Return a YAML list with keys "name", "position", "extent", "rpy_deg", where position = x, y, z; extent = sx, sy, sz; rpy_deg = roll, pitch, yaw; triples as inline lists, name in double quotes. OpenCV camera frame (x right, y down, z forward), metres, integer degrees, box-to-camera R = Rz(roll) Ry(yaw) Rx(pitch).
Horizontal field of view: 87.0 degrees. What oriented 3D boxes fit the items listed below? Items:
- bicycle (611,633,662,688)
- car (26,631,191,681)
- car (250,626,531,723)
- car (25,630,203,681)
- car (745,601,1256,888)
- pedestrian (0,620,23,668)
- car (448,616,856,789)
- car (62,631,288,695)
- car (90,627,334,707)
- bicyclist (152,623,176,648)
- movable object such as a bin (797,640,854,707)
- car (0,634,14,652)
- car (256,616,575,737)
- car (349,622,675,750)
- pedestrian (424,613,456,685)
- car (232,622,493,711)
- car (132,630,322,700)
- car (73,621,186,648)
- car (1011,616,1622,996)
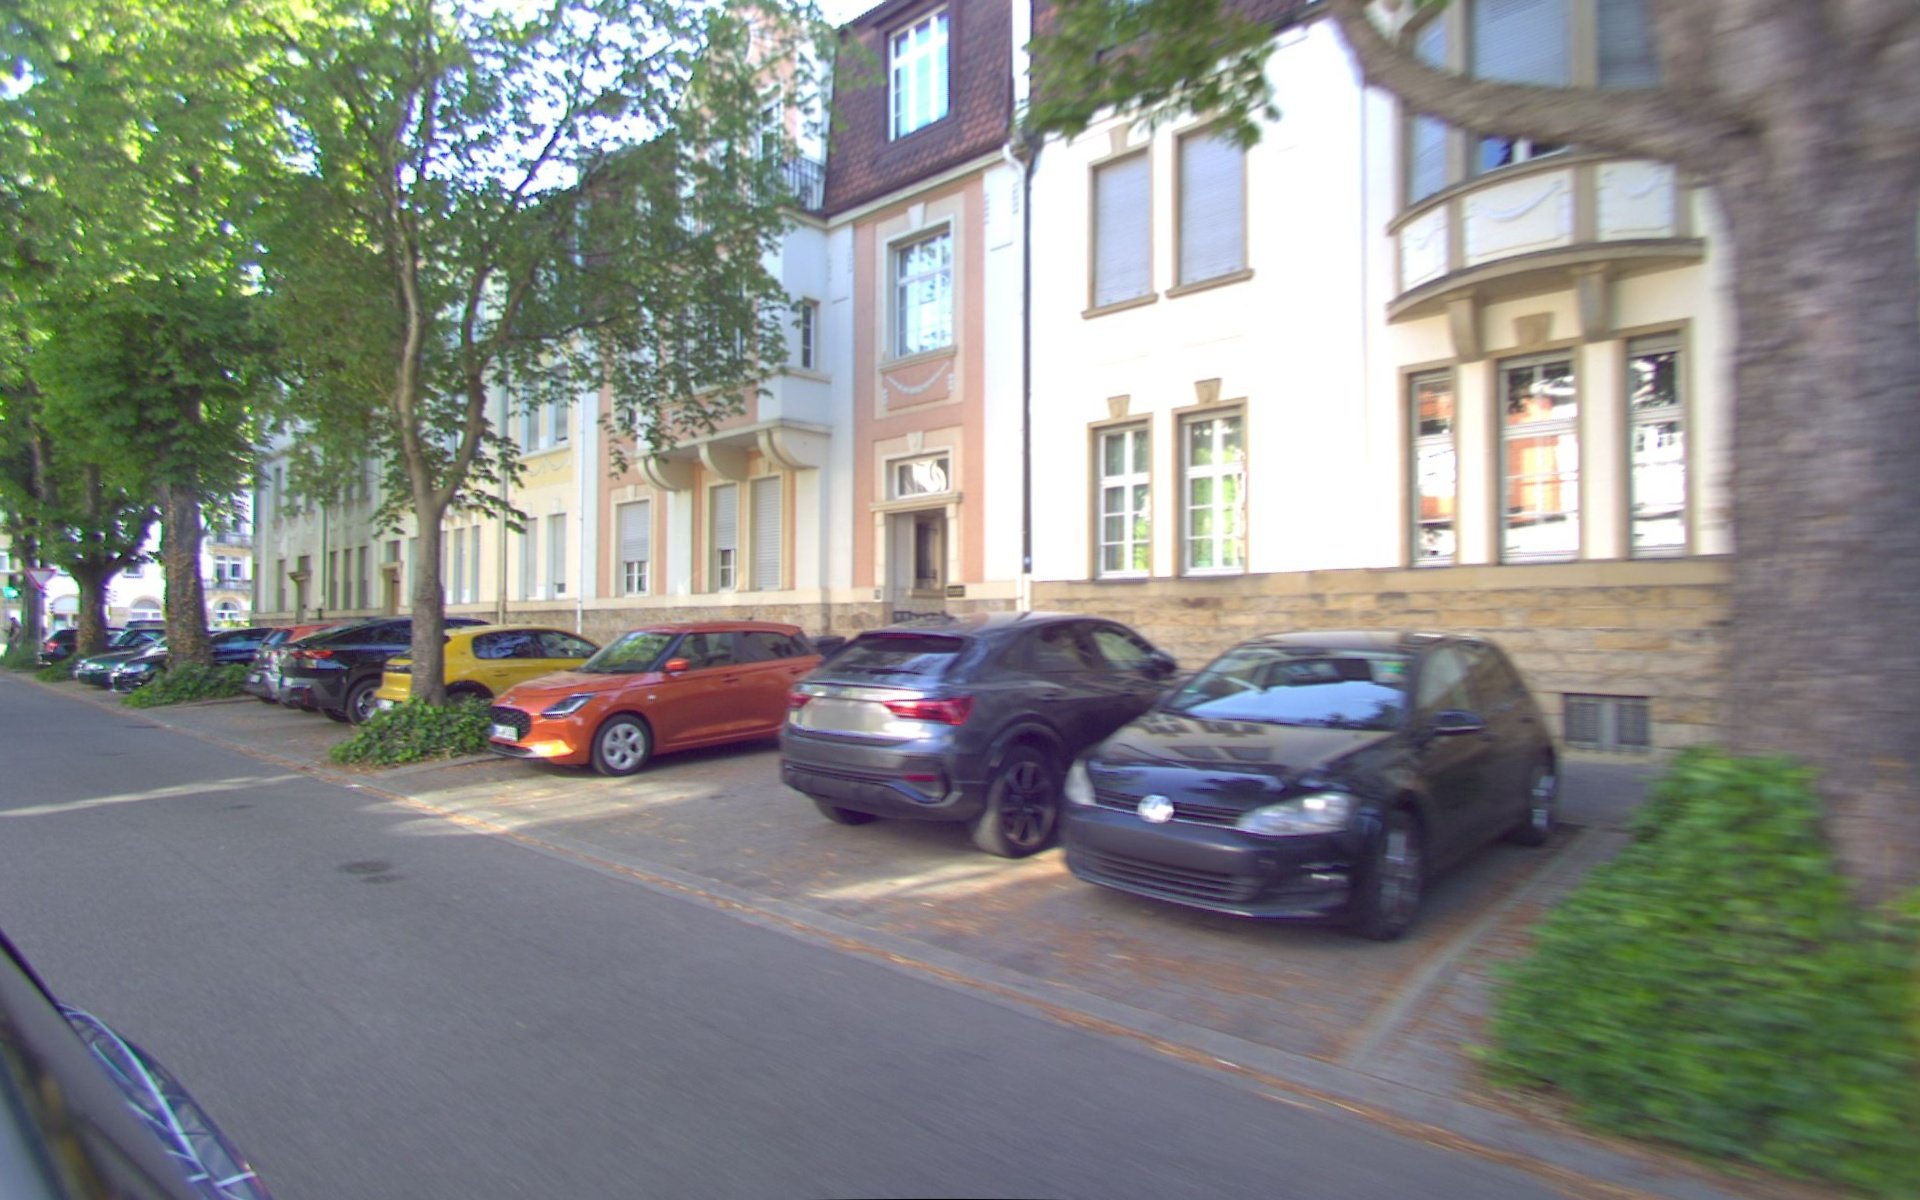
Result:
- name: "bicycle"
  position: [-6.590, 1.212, 20.590]
  extent: [1.254, 1.073, 0.428]
  rpy_deg: [-2, -2, 42]
- name: "car"
  position: [-27.289, 1.769, 32.537]
  extent: [1.615, 1.487, 3.841]
  rpy_deg: [-1, -3, 41]
- name: "car"
  position: [-9.853, 1.208, 17.710]
  extent: [1.830, 1.414, 3.943]
  rpy_deg: [-1, -1, 43]
- name: "car"
  position: [-25.429, 1.633, 30.533]
  extent: [1.612, 1.426, 3.848]
  rpy_deg: [-1, -2, 35]
- name: "car"
  position: [0.528, 0.830, 7.767]
  extent: [1.858, 1.604, 3.945]
  rpy_deg: [-2, -1, 41]
- name: "pedestrian"
  position: [-34.318, 1.577, 36.490]
  extent: [0.684, 1.695, 0.681]
  rpy_deg: [1, -2, -37]
- name: "car"
  position: [-3.184, 0.945, 11.057]
  extent: [1.747, 1.526, 3.945]
  rpy_deg: [-1, -1, 41]
- name: "car"
  position: [-19.264, 1.490, 24.984]
  extent: [1.702, 1.359, 4.167]
  rpy_deg: [-1, -1, 41]
- name: "car"
  position: [-15.881, 1.349, 21.627]
  extent: [1.785, 1.493, 3.943]
  rpy_deg: [-1, -1, 43]
- name: "bicyclist"
  position: [-50.591, 2.232, 64.291]
  extent: [0.687, 1.554, 1.060]
  rpy_deg: [-2, -3, 41]
- name: "movable object such as a bin"
  position: [-2.158, 1.163, 16.296]
  extent: [0.614, 1.043, 0.680]
  rpy_deg: [-2, -2, 42]
- name: "car"
  position: [-89.864, 4.026, 94.327]
  extent: [1.887, 1.671, 4.357]
  rpy_deg: [-3, 0, -36]
- name: "car"
  position: [-8.244, 1.056, 15.556]
  extent: [1.863, 1.578, 3.943]
  rpy_deg: [-1, -1, 43]
- name: "car"
  position: [-6.123, 1.075, 14.092]
  extent: [1.863, 1.473, 3.749]
  rpy_deg: [-1, -1, 43]
- name: "pedestrian"
  position: [-12.275, 1.140, 23.893]
  extent: [0.454, 1.671, 0.896]
  rpy_deg: [1, -2, -40]
- name: "car"
  position: [-11.290, 1.218, 19.326]
  extent: [1.722, 1.519, 3.943]
  rpy_deg: [-1, -3, 43]
- name: "car"
  position: [-17.301, 1.469, 23.957]
  extent: [1.704, 1.463, 3.395]
  rpy_deg: [-1, -1, 44]
- name: "car"
  position: [-43.499, 1.815, 53.115]
  extent: [1.855, 1.364, 4.178]
  rpy_deg: [-1, -2, 26]
- name: "car"
  position: [2.307, 0.852, 6.008]
  extent: [3.856, 1.457, 1.861]
  rpy_deg: [0, -1, -44]
